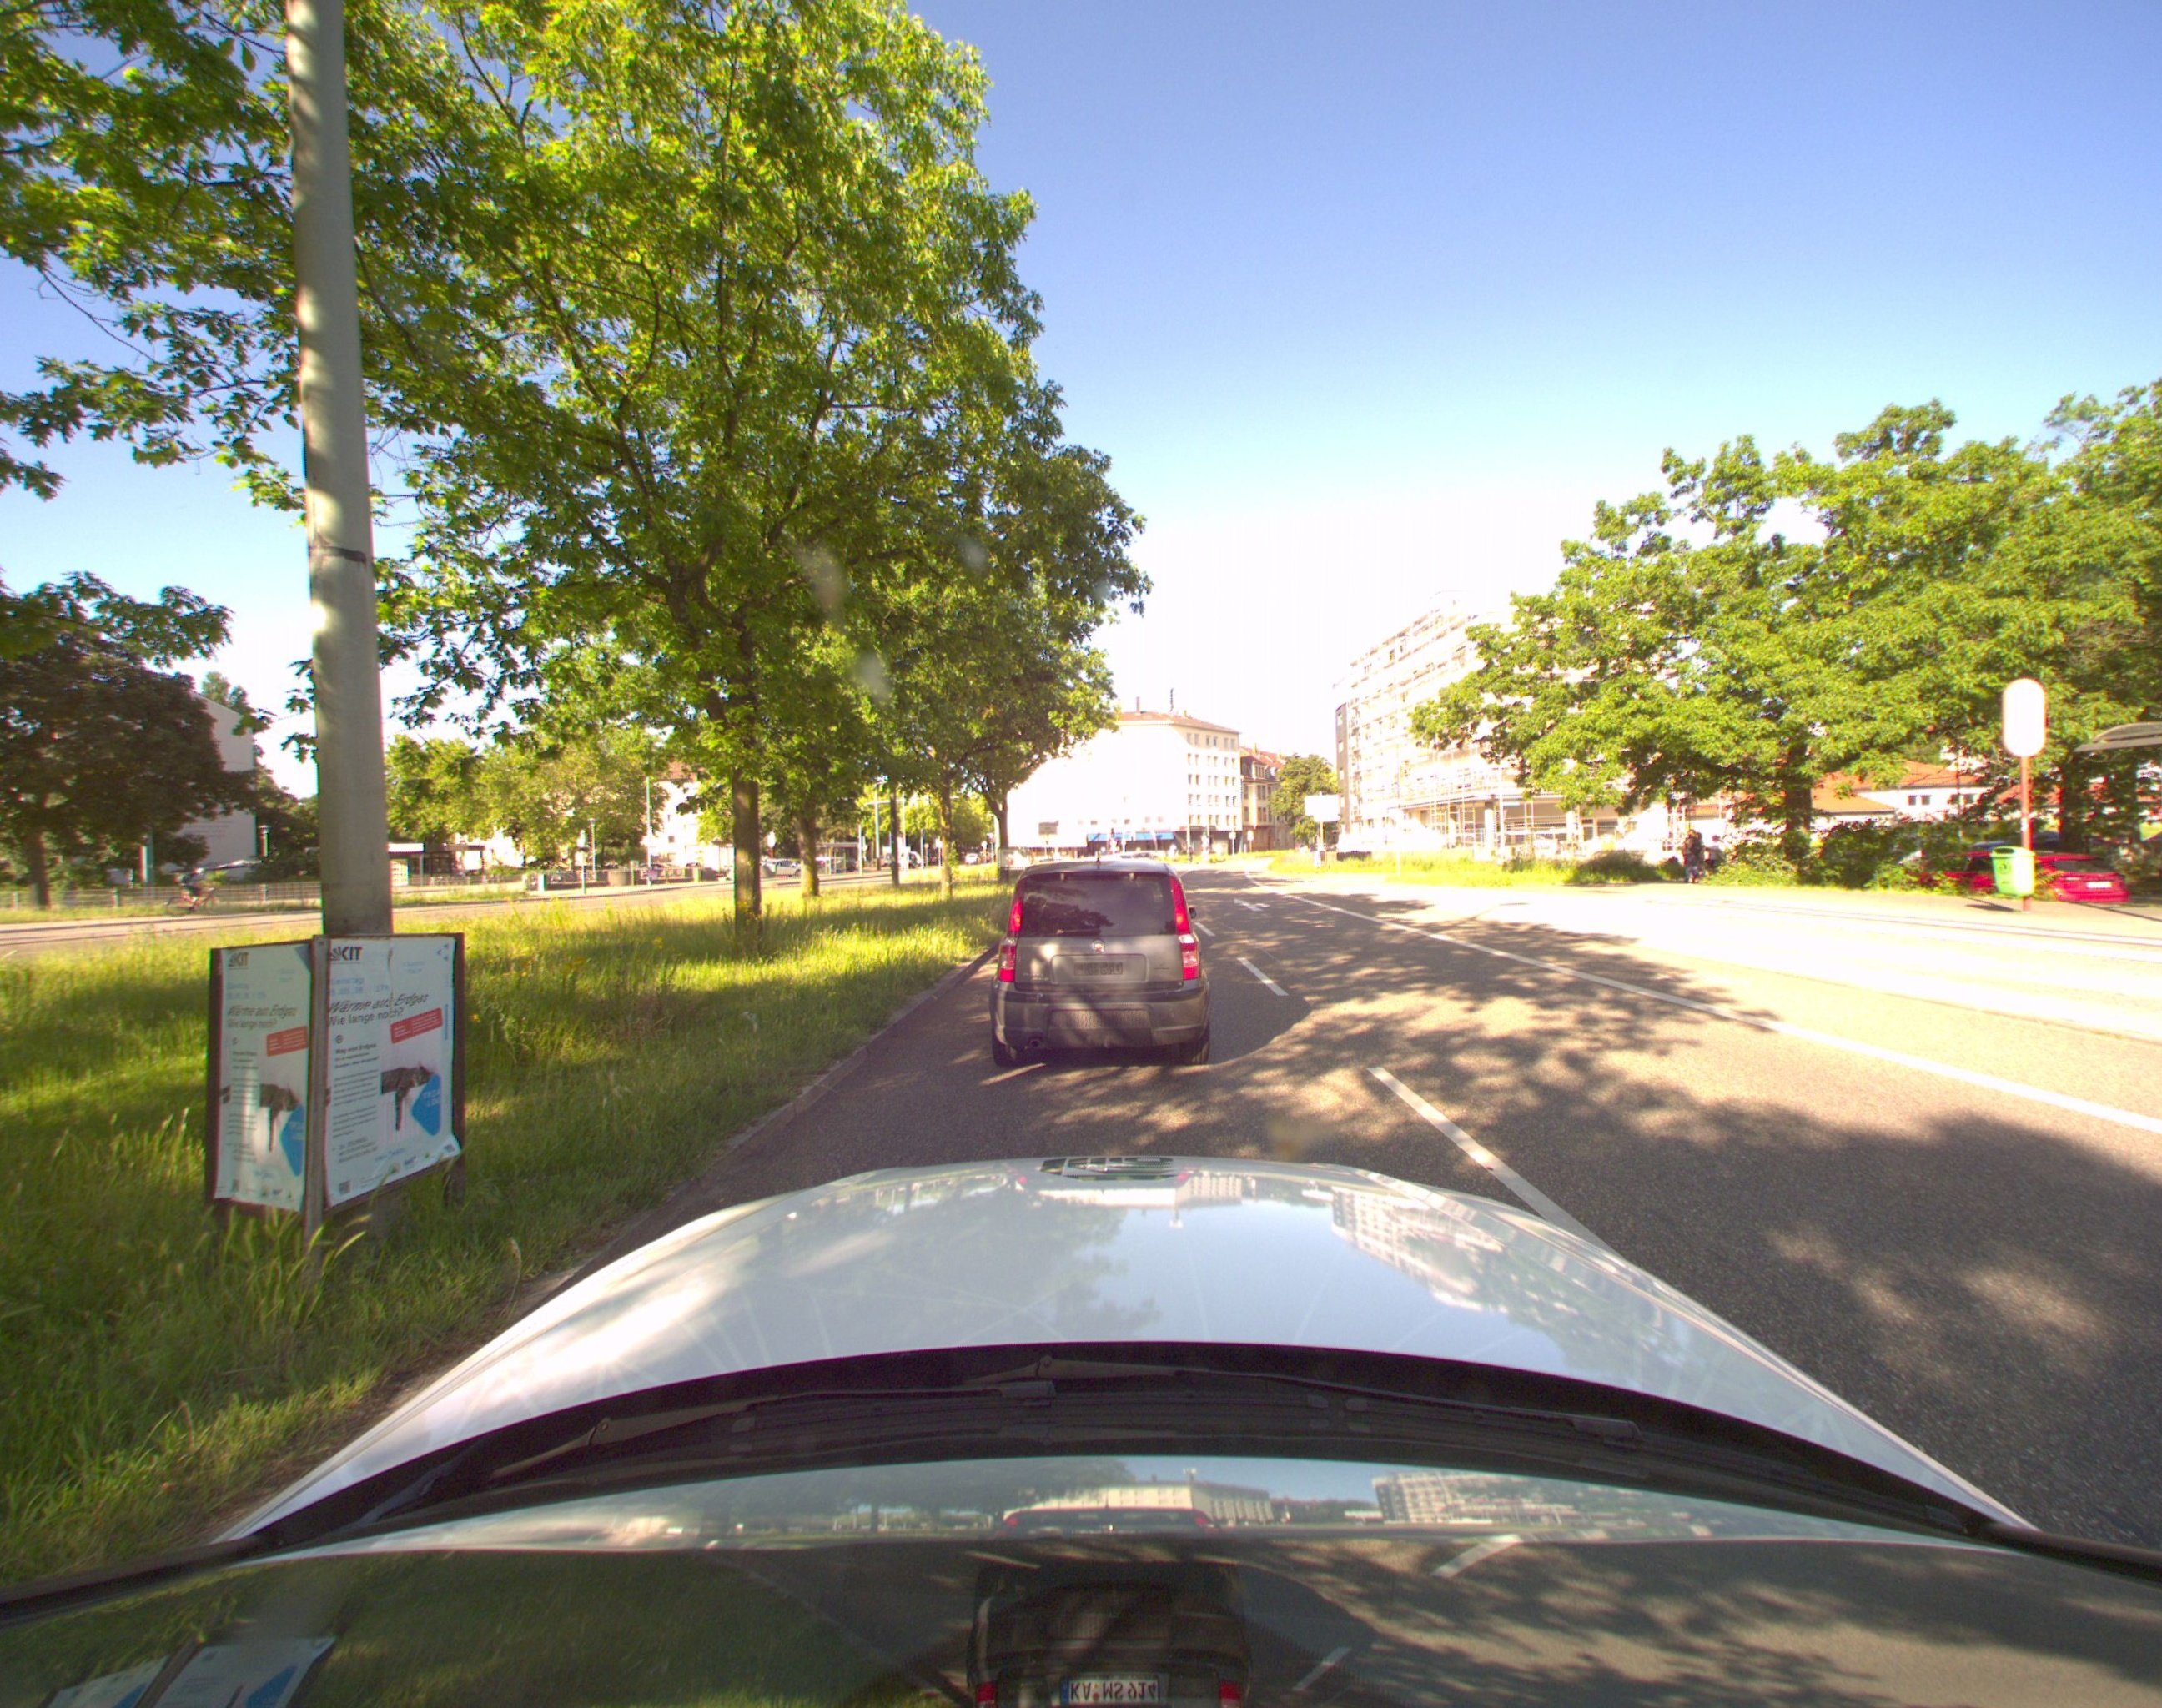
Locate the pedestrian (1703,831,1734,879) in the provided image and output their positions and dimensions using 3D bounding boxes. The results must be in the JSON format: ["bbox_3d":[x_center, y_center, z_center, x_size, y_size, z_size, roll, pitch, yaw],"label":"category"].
[{"bbox_3d":[20.871,0.034,26.665,0.525,1.518,0.614,-2,0,4],"label":"pedestrian"}]

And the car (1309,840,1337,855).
[{"bbox_3d":[27.946,-0.755,94.038,1.802,1.508,4.026,-2,1,35],"label":"car"}]

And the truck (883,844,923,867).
[{"bbox_3d":[-19.863,0.190,90.866,4.087,2.426,1.792,-2,0,-3],"label":"truck"}]

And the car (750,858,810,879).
[{"bbox_3d":[-26.540,1.250,71.866,1.849,1.544,4.576,2,3,45],"label":"car"}]

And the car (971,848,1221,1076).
[{"bbox_3d":[0.197,0.727,7.164,1.653,1.510,3.254,-2,0,3],"label":"car"}]

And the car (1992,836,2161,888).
[{"bbox_3d":[33.658,0.261,27.288,1.984,1.607,4.006,0,-1,5],"label":"car"}]

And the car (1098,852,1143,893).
[{"bbox_3d":[1.573,0.694,32.027,1.639,1.438,3.399,-2,0,3],"label":"car"}]

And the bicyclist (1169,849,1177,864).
[{"bbox_3d":[8.606,0.208,76.065,0.531,1.357,0.595,-2,0,-14],"label":"bicyclist"}]

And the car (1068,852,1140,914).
[{"bbox_3d":[0.617,0.713,22.509,1.754,1.486,4.294,-2,0,1],"label":"car"}]

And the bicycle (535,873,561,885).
[{"bbox_3d":[-43.076,2.006,65.805,1.695,0.839,0.541,-2,0,-41],"label":"bicycle"}]

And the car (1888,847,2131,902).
[{"bbox_3d":[21.903,0.426,19.473,1.392,1.154,3.912,-2,0,1],"label":"car"}]

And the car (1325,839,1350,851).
[{"bbox_3d":[37.903,-1.343,120.329,1.905,1.593,3.985,-2,0,-11],"label":"car"}]

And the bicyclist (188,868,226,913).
[{"bbox_3d":[-30.932,1.291,28.835,0.607,1.530,0.679,-1,1,16],"label":"bicyclist"}]

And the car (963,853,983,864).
[{"bbox_3d":[-14.418,0.605,108.709,1.986,1.310,4.002,-2,0,2],"label":"car"}]

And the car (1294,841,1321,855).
[{"bbox_3d":[25.080,-0.624,89.975,1.757,1.442,3.642,-1,1,34],"label":"car"}]

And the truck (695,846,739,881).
[{"bbox_3d":[-33.333,0.836,74.523,4.768,2.994,2.012,-1,1,44],"label":"truck"}]

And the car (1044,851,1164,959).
[{"bbox_3d":[0.375,0.698,13.137,1.615,1.429,3.690,-2,0,2],"label":"car"}]

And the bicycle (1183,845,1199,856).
[{"bbox_3d":[9.496,-0.283,70.308,0.783,0.951,1.849,0,-1,-11],"label":"bicycle"}]

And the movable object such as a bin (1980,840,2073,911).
[{"bbox_3d":[14.361,0.316,12.381,0.724,1.030,0.578,-2,0,1],"label":"movable object such as a bin"}]

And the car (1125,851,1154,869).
[{"bbox_3d":[4.414,0.445,61.043,1.983,1.243,4.008,-1,0,6],"label":"car"}]

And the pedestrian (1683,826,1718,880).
[{"bbox_3d":[19.189,-0.029,25.240,0.619,1.634,0.552,-2,0,2],"label":"pedestrian"}]

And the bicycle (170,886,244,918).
[{"bbox_3d":[-30.927,1.693,28.842,0.607,1.001,1.666,-2,0,17],"label":"bicycle"}]

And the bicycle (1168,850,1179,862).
[{"bbox_3d":[8.613,0.209,76.044,0.531,1.090,1.578,-2,0,-13],"label":"bicycle"}]

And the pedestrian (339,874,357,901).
[{"bbox_3d":[-49.990,2.296,55.545,0.553,1.829,0.731,-2,0,23],"label":"pedestrian"}]

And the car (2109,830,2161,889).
[{"bbox_3d":[29.475,0.208,20.189,1.984,1.537,4.897,0,2,5],"label":"car"}]

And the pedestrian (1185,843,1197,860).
[{"bbox_3d":[9.486,-0.205,70.427,0.774,1.427,0.935,0,-1,-12],"label":"pedestrian"}]

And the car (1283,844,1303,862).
[{"bbox_3d":[25.574,-0.105,98.224,1.977,2.014,4.019,-1,-1,18],"label":"car"}]

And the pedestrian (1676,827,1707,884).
[{"bbox_3d":[18.596,0.034,24.796,0.600,1.700,0.410,-2,0,1],"label":"pedestrian"}]

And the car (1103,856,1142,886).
[{"bbox_3d":[1.970,0.778,38.152,1.683,1.253,3.630,-2,0,4],"label":"car"}]
